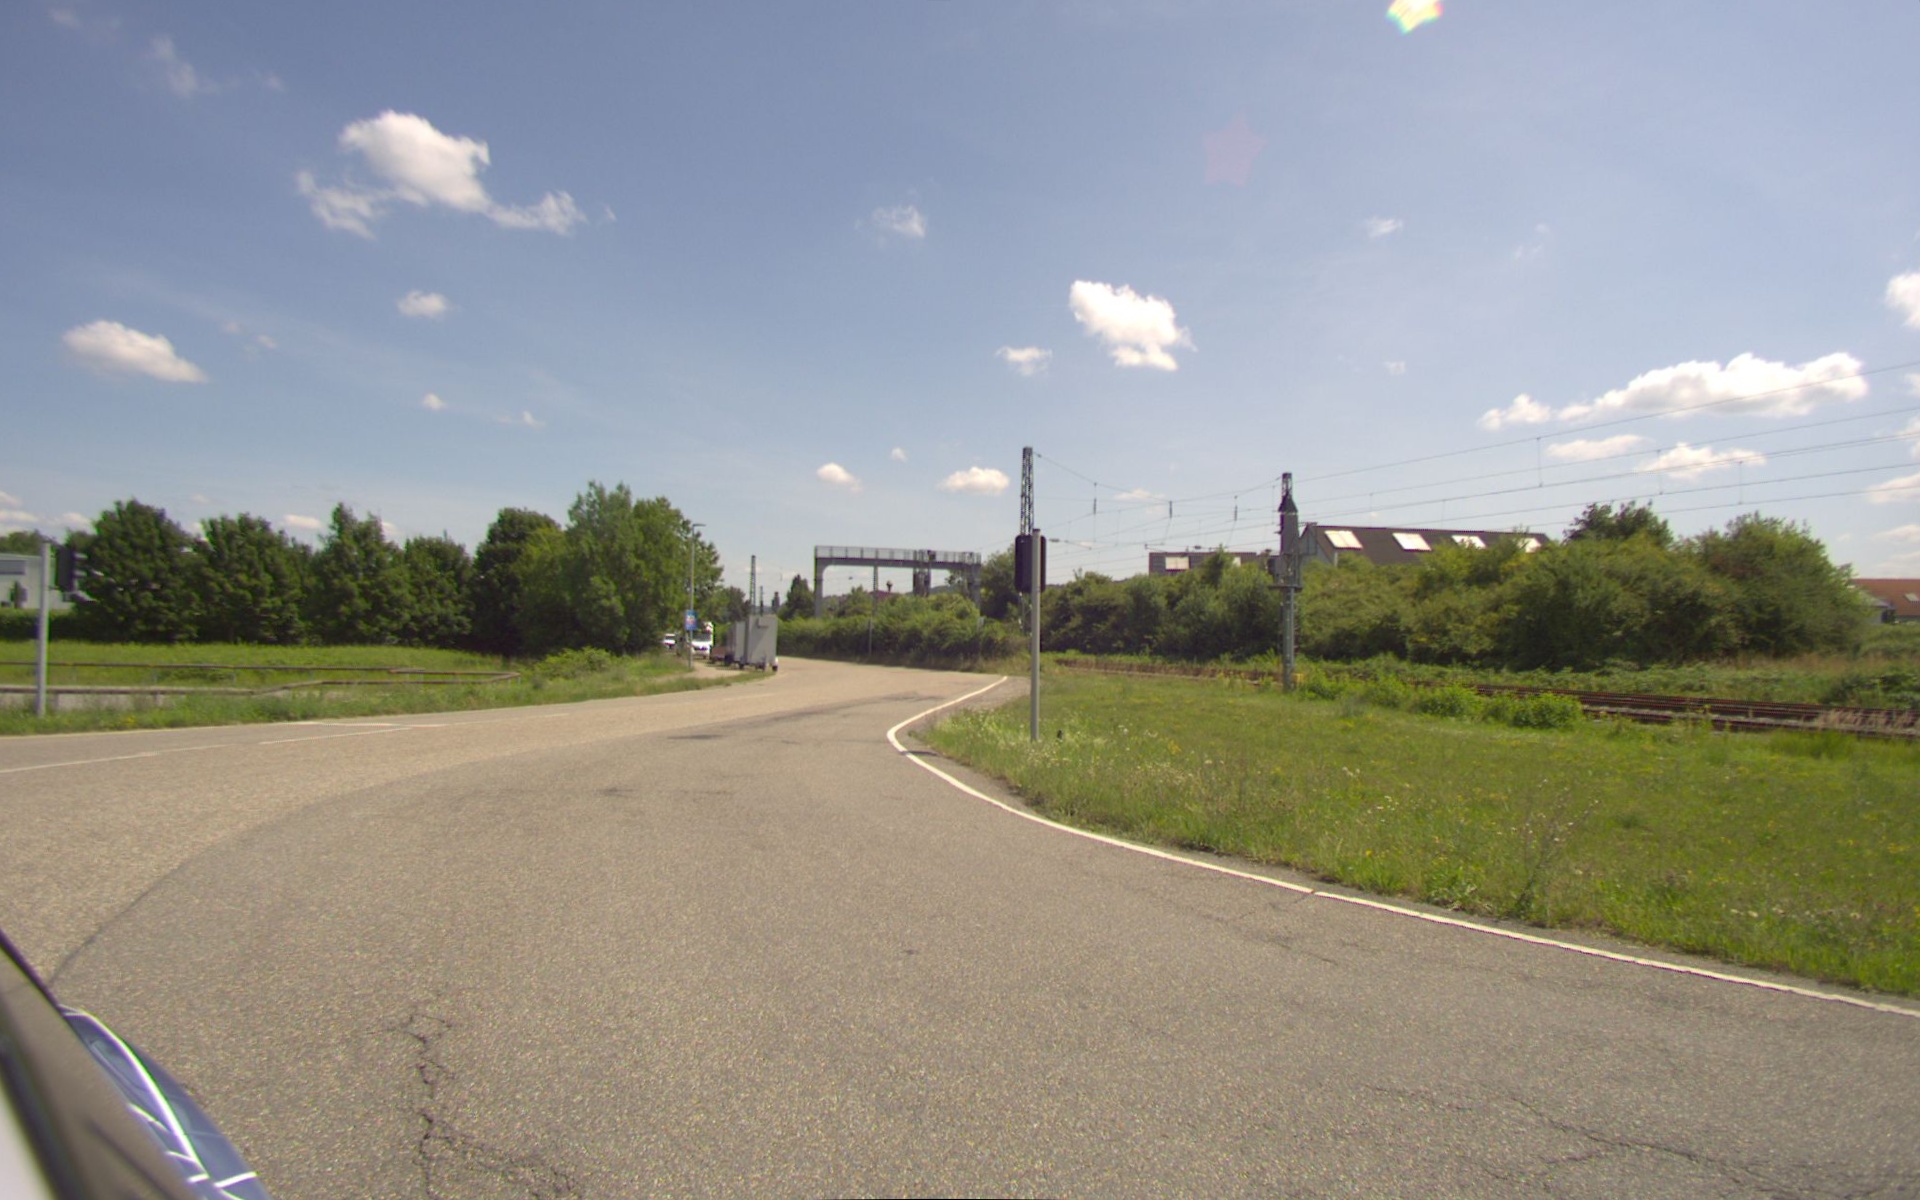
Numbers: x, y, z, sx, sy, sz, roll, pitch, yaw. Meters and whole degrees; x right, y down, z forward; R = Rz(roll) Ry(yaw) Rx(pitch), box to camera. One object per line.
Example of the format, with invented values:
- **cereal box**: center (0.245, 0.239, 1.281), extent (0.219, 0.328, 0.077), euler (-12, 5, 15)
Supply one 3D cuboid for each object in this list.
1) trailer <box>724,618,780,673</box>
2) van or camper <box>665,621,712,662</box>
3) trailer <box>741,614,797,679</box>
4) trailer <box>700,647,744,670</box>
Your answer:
- **trailer**: center (-10.577, 2.297, 51.274), extent (1.892, 2.527, 4.756), euler (4, -4, -21)
- **van or camper**: center (-20.386, 3.105, 75.634), extent (2.404, 2.848, 7.647), euler (3, -3, -21)
- **trailer**: center (-8.714, 2.110, 45.882), extent (1.906, 2.664, 5.198), euler (4, -3, -16)
- **trailer**: center (-13.780, 3.339, 58.337), extent (1.977, 1.131, 4.503), euler (4, -3, -19)
